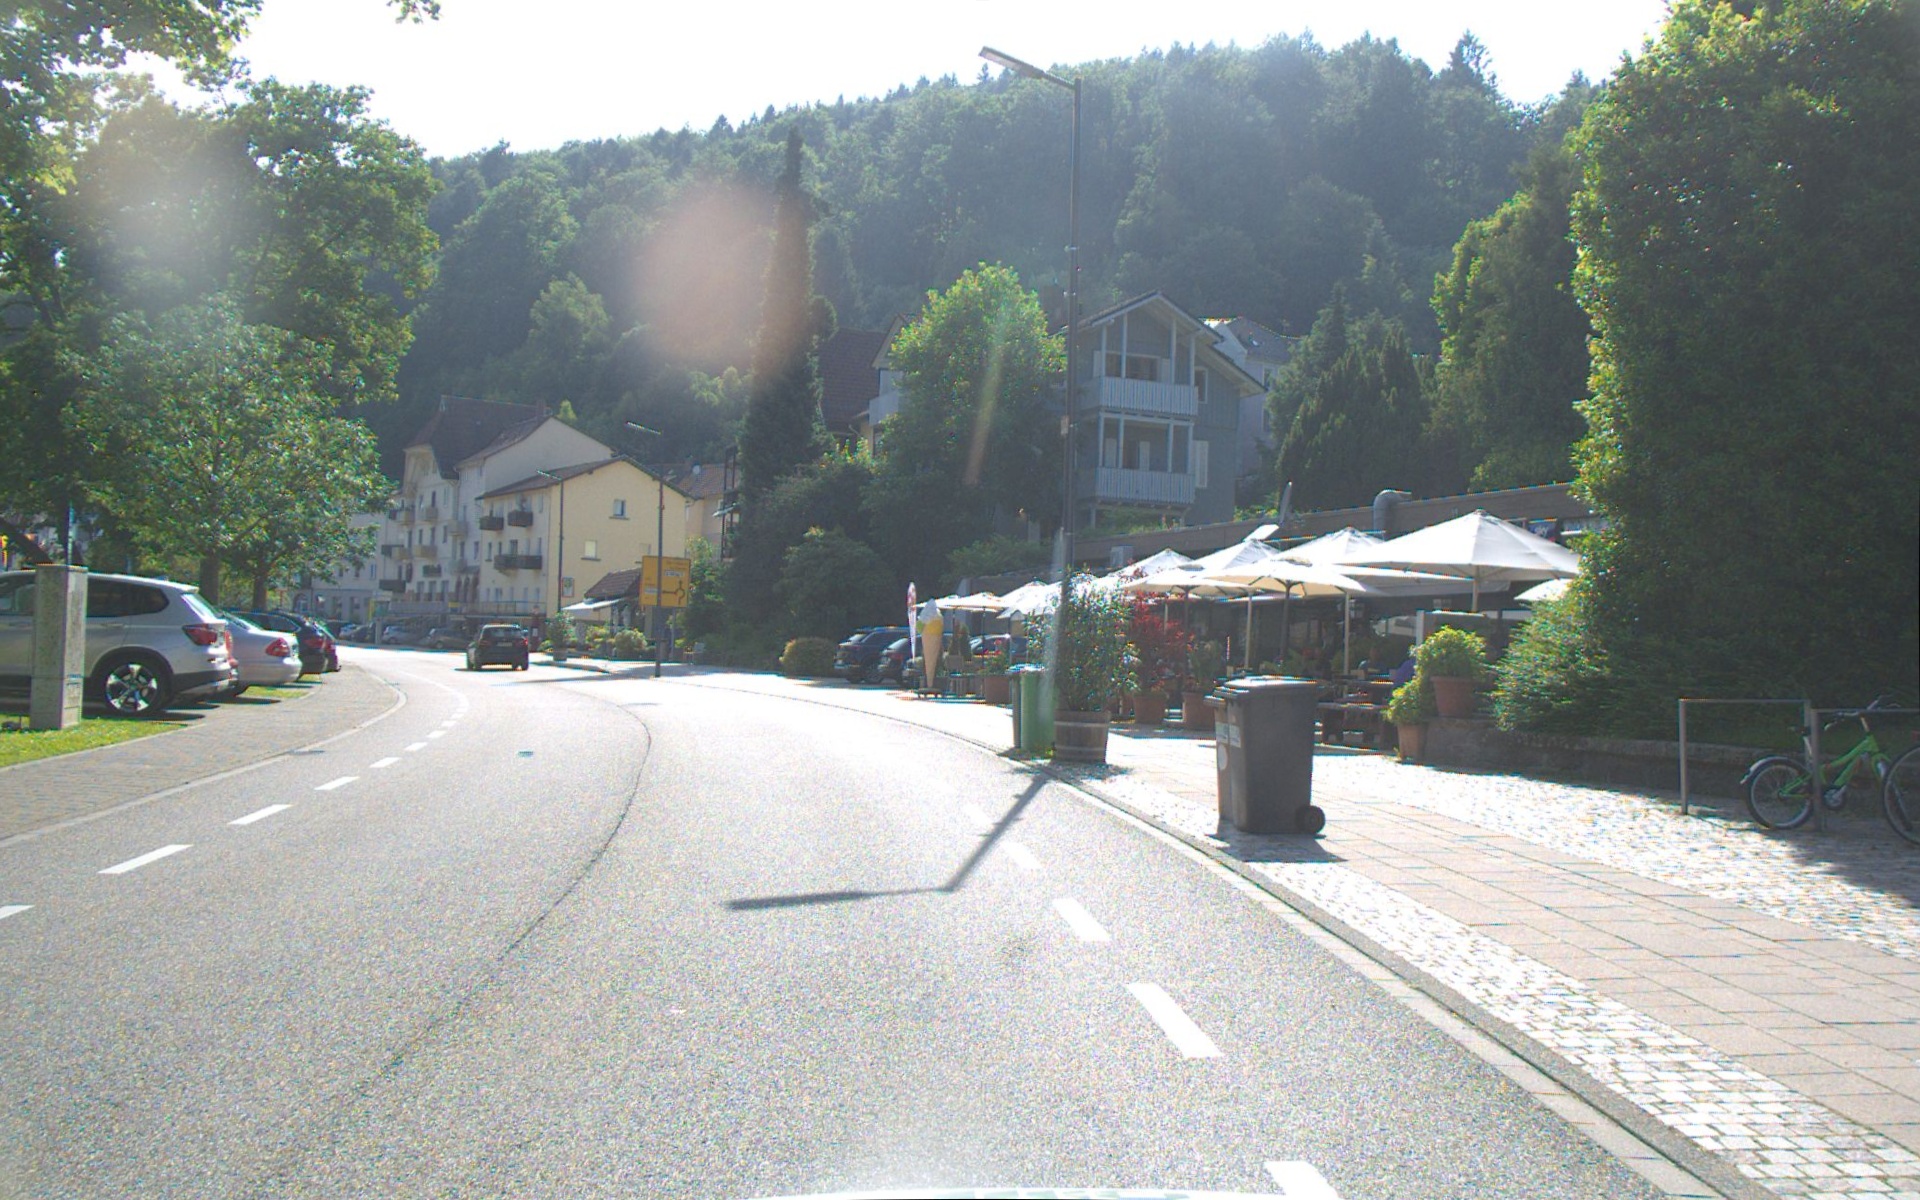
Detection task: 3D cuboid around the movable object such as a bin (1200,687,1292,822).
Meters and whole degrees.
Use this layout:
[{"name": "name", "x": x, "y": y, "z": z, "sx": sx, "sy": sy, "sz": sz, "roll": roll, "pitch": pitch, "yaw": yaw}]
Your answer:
[{"name": "movable object such as a bin", "x": 2.079, "y": 1.112, "z": 12.056, "sx": 0.515, "sy": 0.928, "sz": 0.562, "roll": 0, "pitch": -1, "yaw": -9}]

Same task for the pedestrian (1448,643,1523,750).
[{"name": "pedestrian", "x": 6.592, "y": 1.192, "z": 20.761, "sx": 0.639, "sy": 1.307, "sz": 0.641, "roll": 1, "pitch": -1, "yaw": -23}]

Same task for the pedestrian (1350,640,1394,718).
[{"name": "pedestrian", "x": 7.131, "y": 1.360, "z": 28.617, "sx": 0.568, "sy": 1.327, "sz": 0.636, "roll": -1, "pitch": -1, "yaw": 32}]

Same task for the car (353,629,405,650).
[{"name": "car", "x": -50.050, "y": 3.363, "z": 142.518, "sx": 3.872, "sy": 1.486, "sz": 1.717, "roll": 6, "pitch": -3, "yaw": -32}]

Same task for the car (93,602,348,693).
[{"name": "car", "x": -14.658, "y": 0.954, "z": 33.012, "sx": 4.433, "sy": 1.536, "sz": 1.701, "roll": 4, "pitch": -3, "yaw": -23}]

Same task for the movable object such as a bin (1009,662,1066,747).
[{"name": "movable object such as a bin", "x": 0.888, "y": 1.184, "z": 18.926, "sx": 0.538, "sy": 0.942, "sz": 0.518, "roll": 1, "pitch": -1, "yaw": -11}]

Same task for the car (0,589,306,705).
[{"name": "car", "x": -12.434, "y": 0.733, "z": 25.190, "sx": 4.416, "sy": 1.442, "sz": 1.799, "roll": 5, "pitch": -3, "yaw": -20}]

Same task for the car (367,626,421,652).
[{"name": "car", "x": -48.134, "y": 3.309, "z": 140.711, "sx": 3.872, "sy": 1.836, "sz": 1.837, "roll": 7, "pitch": -5, "yaw": -32}]

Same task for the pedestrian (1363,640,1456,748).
[{"name": "pedestrian", "x": 5.609, "y": 1.162, "z": 20.649, "sx": 0.935, "sy": 1.307, "sz": 0.640, "roll": 1, "pitch": -1, "yaw": -23}]

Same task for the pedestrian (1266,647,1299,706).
[{"name": "pedestrian", "x": 6.914, "y": 1.634, "z": 35.518, "sx": 0.671, "sy": 1.230, "sz": 0.701, "roll": 1, "pitch": -2, "yaw": 10}]

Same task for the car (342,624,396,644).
[{"name": "car", "x": -53.025, "y": 3.036, "z": 148.396, "sx": 4.310, "sy": 1.487, "sz": 1.754, "roll": 5, "pitch": -4, "yaw": -30}]

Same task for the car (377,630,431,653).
[{"name": "car", "x": -46.544, "y": 3.472, "z": 138.455, "sx": 3.872, "sy": 1.617, "sz": 1.755, "roll": 6, "pitch": -3, "yaw": -32}]

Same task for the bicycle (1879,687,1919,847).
[{"name": "bicycle", "x": 6.772, "y": 1.065, "z": 10.574, "sx": 1.510, "sy": 1.000, "sz": 0.384, "roll": -1, "pitch": -1, "yaw": 12}]

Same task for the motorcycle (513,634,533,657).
[{"name": "motorcycle", "x": -25.271, "y": 2.626, "z": 95.602, "sx": 0.688, "sy": 1.319, "sz": 2.194, "roll": 0, "pitch": -1, "yaw": -26}]

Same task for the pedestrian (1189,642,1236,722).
[{"name": "pedestrian", "x": 4.059, "y": 1.318, "z": 26.586, "sx": 0.468, "sy": 1.267, "sz": 0.585, "roll": 1, "pitch": -3, "yaw": -37}]

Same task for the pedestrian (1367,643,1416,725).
[{"name": "pedestrian", "x": 7.152, "y": 1.382, "z": 27.419, "sx": 0.522, "sy": 1.327, "sz": 0.604, "roll": 1, "pitch": -1, "yaw": -24}]

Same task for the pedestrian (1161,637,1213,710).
[{"name": "pedestrian", "x": 4.051, "y": 1.306, "z": 29.539, "sx": 0.793, "sy": 1.283, "sz": 0.700, "roll": 1, "pitch": -2, "yaw": -3}]

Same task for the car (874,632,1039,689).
[{"name": "car", "x": -0.089, "y": 1.613, "z": 44.094, "sx": 4.050, "sy": 1.440, "sz": 1.737, "roll": 2, "pitch": -2, "yaw": -21}]

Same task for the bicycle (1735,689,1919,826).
[{"name": "bicycle", "x": 6.336, "y": 1.104, "z": 11.666, "sx": 1.510, "sy": 0.925, "sz": 0.384, "roll": -1, "pitch": -1, "yaw": 12}]

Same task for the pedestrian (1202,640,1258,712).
[{"name": "pedestrian", "x": 4.974, "y": 1.388, "z": 30.444, "sx": 0.795, "sy": 1.283, "sz": 0.698, "roll": 0, "pitch": -2, "yaw": 33}]

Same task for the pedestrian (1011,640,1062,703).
[{"name": "pedestrian", "x": 1.582, "y": 1.475, "z": 34.162, "sx": 0.801, "sy": 1.283, "sz": 0.693, "roll": 2, "pitch": -2, "yaw": -30}]

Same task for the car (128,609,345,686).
[{"name": "car", "x": -15.928, "y": 1.045, "z": 36.460, "sx": 4.227, "sy": 1.457, "sz": 1.697, "roll": 4, "pitch": -2, "yaw": -28}]

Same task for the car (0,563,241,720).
[{"name": "car", "x": -11.270, "y": 0.457, "z": 20.076, "sx": 4.416, "sy": 1.693, "sz": 1.799, "roll": 5, "pitch": -4, "yaw": -20}]

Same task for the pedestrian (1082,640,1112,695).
[{"name": "pedestrian", "x": 3.222, "y": 1.579, "z": 38.982, "sx": 0.683, "sy": 1.283, "sz": 0.813, "roll": 1, "pitch": -2, "yaw": 5}]

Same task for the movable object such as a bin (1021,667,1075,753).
[{"name": "movable object such as a bin", "x": 0.976, "y": 1.212, "z": 18.355, "sx": 0.504, "sy": 0.928, "sz": 0.440, "roll": 1, "pitch": -1, "yaw": -11}]

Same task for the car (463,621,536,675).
[{"name": "car", "x": -15.924, "y": 1.629, "z": 57.090, "sx": 1.706, "sy": 1.602, "sz": 3.722, "roll": 4, "pitch": -1, "yaw": -26}]

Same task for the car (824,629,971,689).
[{"name": "car", "x": -1.793, "y": 1.667, "z": 46.973, "sx": 3.819, "sy": 1.608, "sz": 1.737, "roll": 2, "pitch": -2, "yaw": -21}]

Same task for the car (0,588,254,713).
[{"name": "car", "x": -11.793, "y": 0.663, "z": 22.343, "sx": 3.928, "sy": 1.457, "sz": 1.710, "roll": 4, "pitch": -3, "yaw": -20}]

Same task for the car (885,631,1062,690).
[{"name": "car", "x": 0.341, "y": 1.544, "z": 42.173, "sx": 4.201, "sy": 1.403, "sz": 1.698, "roll": 2, "pitch": -2, "yaw": -21}]

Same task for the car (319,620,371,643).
[{"name": "car", "x": -56.544, "y": 2.919, "z": 152.076, "sx": 4.045, "sy": 1.695, "sz": 1.753, "roll": 7, "pitch": -4, "yaw": -32}]

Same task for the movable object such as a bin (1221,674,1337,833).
[{"name": "movable object such as a bin", "x": 2.212, "y": 1.049, "z": 11.499, "sx": 0.644, "sy": 1.050, "sz": 0.570, "roll": 0, "pitch": -1, "yaw": -9}]

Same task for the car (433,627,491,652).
[{"name": "car", "x": -38.087, "y": 2.991, "z": 126.532, "sx": 3.827, "sy": 1.582, "sz": 1.739, "roll": 6, "pitch": -4, "yaw": -35}]
